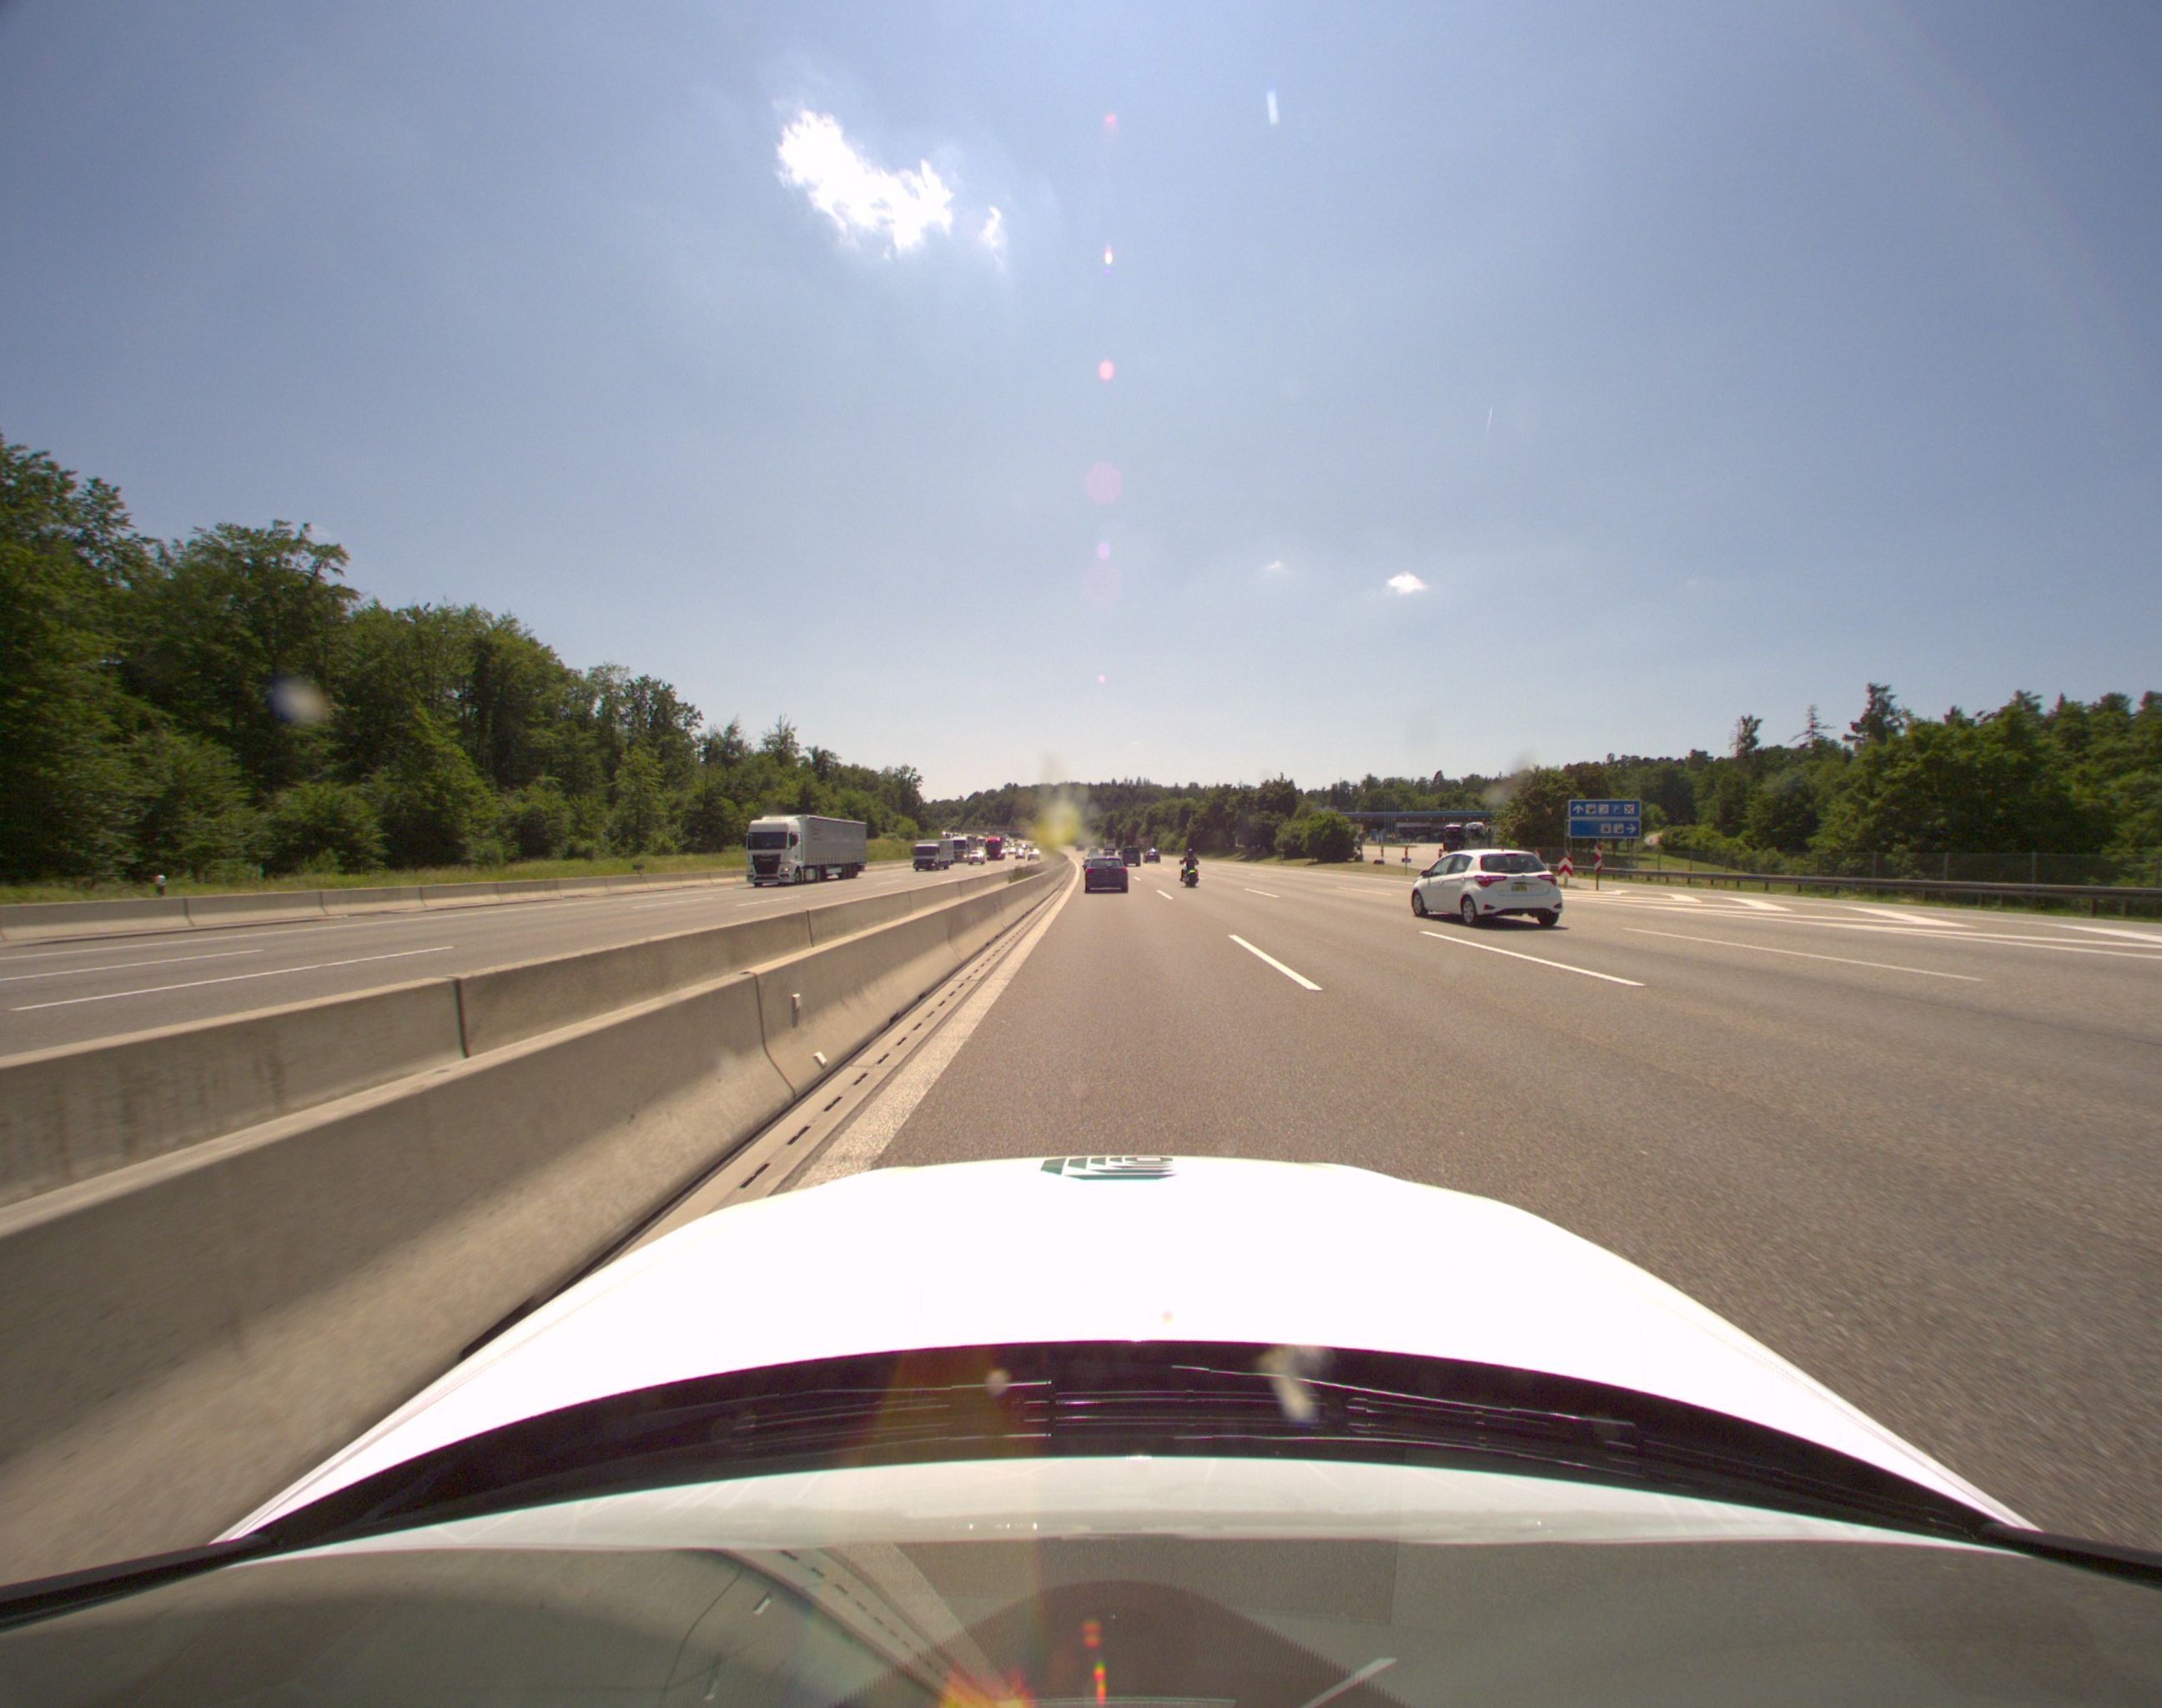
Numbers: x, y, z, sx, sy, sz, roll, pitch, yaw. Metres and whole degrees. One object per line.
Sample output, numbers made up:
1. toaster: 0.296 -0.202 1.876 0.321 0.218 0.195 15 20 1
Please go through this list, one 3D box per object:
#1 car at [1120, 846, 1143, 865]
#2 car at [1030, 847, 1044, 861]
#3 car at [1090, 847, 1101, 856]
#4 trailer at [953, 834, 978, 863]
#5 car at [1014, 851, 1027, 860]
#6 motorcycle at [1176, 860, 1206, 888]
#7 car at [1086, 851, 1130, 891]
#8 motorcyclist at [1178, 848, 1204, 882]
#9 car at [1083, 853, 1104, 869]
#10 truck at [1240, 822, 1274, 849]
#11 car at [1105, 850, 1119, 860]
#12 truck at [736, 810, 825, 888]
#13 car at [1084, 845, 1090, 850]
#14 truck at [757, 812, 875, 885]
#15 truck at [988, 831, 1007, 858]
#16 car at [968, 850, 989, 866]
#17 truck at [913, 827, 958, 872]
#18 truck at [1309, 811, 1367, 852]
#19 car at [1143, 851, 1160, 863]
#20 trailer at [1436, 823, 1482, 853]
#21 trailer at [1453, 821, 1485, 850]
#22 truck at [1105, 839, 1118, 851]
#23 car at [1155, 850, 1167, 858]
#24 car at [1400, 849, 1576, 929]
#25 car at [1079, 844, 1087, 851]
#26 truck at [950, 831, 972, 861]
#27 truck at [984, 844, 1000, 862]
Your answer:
1. car: 5.004 0.123 81.626 2.090 1.851 4.081 -1 0 0
2. car: -7.029 -0.016 130.907 1.987 2.289 5.765 -1 0 0
3. car: 2.877 -0.441 163.749 1.987 1.683 4.422 2 1 -1
4. trailer: -18.318 -0.990 130.179 2.494 4.350 13.688 0 1 -2
5. car: -10.973 0.258 147.790 1.987 1.548 4.881 -1 0 0
6. motorcycle: 4.787 0.850 35.548 0.974 1.129 2.270 -1 0 -1
7. car: 1.121 0.690 32.708 1.617 1.487 3.688 -1 -1 4
8. motorcyclist: 4.793 0.468 35.554 0.959 1.437 1.234 -1 0 -1
9. car: 1.052 0.572 70.381 1.777 1.265 3.459 -1 0 0
10. truck: 33.523 -3.396 156.071 3.315 4.829 14.697 -1 0 0
11. car: 4.374 0.141 115.634 1.836 1.222 4.223 2 1 -1
12. truck: -17.240 -0.284 47.217 2.672 4.177 6.233 -1 0 1
13. car: 1.871 -2.086 261.137 1.987 1.574 3.999 2 1 -1
14. truck: -17.077 -0.311 54.158 2.747 4.177 14.512 -1 0 1
15. truck: -14.209 -1.633 138.500 2.493 4.351 6.604 -1 1 0
16. car: -13.444 0.499 106.832 1.987 1.970 5.737 -1 0 0
17. truck: -14.419 -0.441 81.480 2.522 4.177 9.623 -1 0 2
18. truck: 43.183 -3.612 137.810 5.487 6.266 15.438 -1 0 2
19. car: 8.387 0.365 96.935 1.669 1.431 3.685 1 0 1
20. trailer: 50.694 -2.236 108.970 3.128 3.637 13.709 -1 2 35
21. trailer: 54.738 -2.588 114.707 3.050 3.898 6.002 -1 2 35
22. truck: 7.441 -2.125 198.220 2.718 2.786 5.681 2 1 -1
23. car: 12.519 -0.037 127.163 1.602 1.212 3.461 -1 -1 2
24. car: 8.251 0.631 16.977 1.659 1.433 4.379 -1 0 3
25. car: 0.554 -1.791 234.834 1.987 2.013 4.673 2 1 -1
26. truck: -18.118 -1.213 123.741 2.494 4.351 6.601 -1 1 -2
27. truck: -22.132 -0.274 202.428 2.893 4.351 16.538 -1 0 -3
